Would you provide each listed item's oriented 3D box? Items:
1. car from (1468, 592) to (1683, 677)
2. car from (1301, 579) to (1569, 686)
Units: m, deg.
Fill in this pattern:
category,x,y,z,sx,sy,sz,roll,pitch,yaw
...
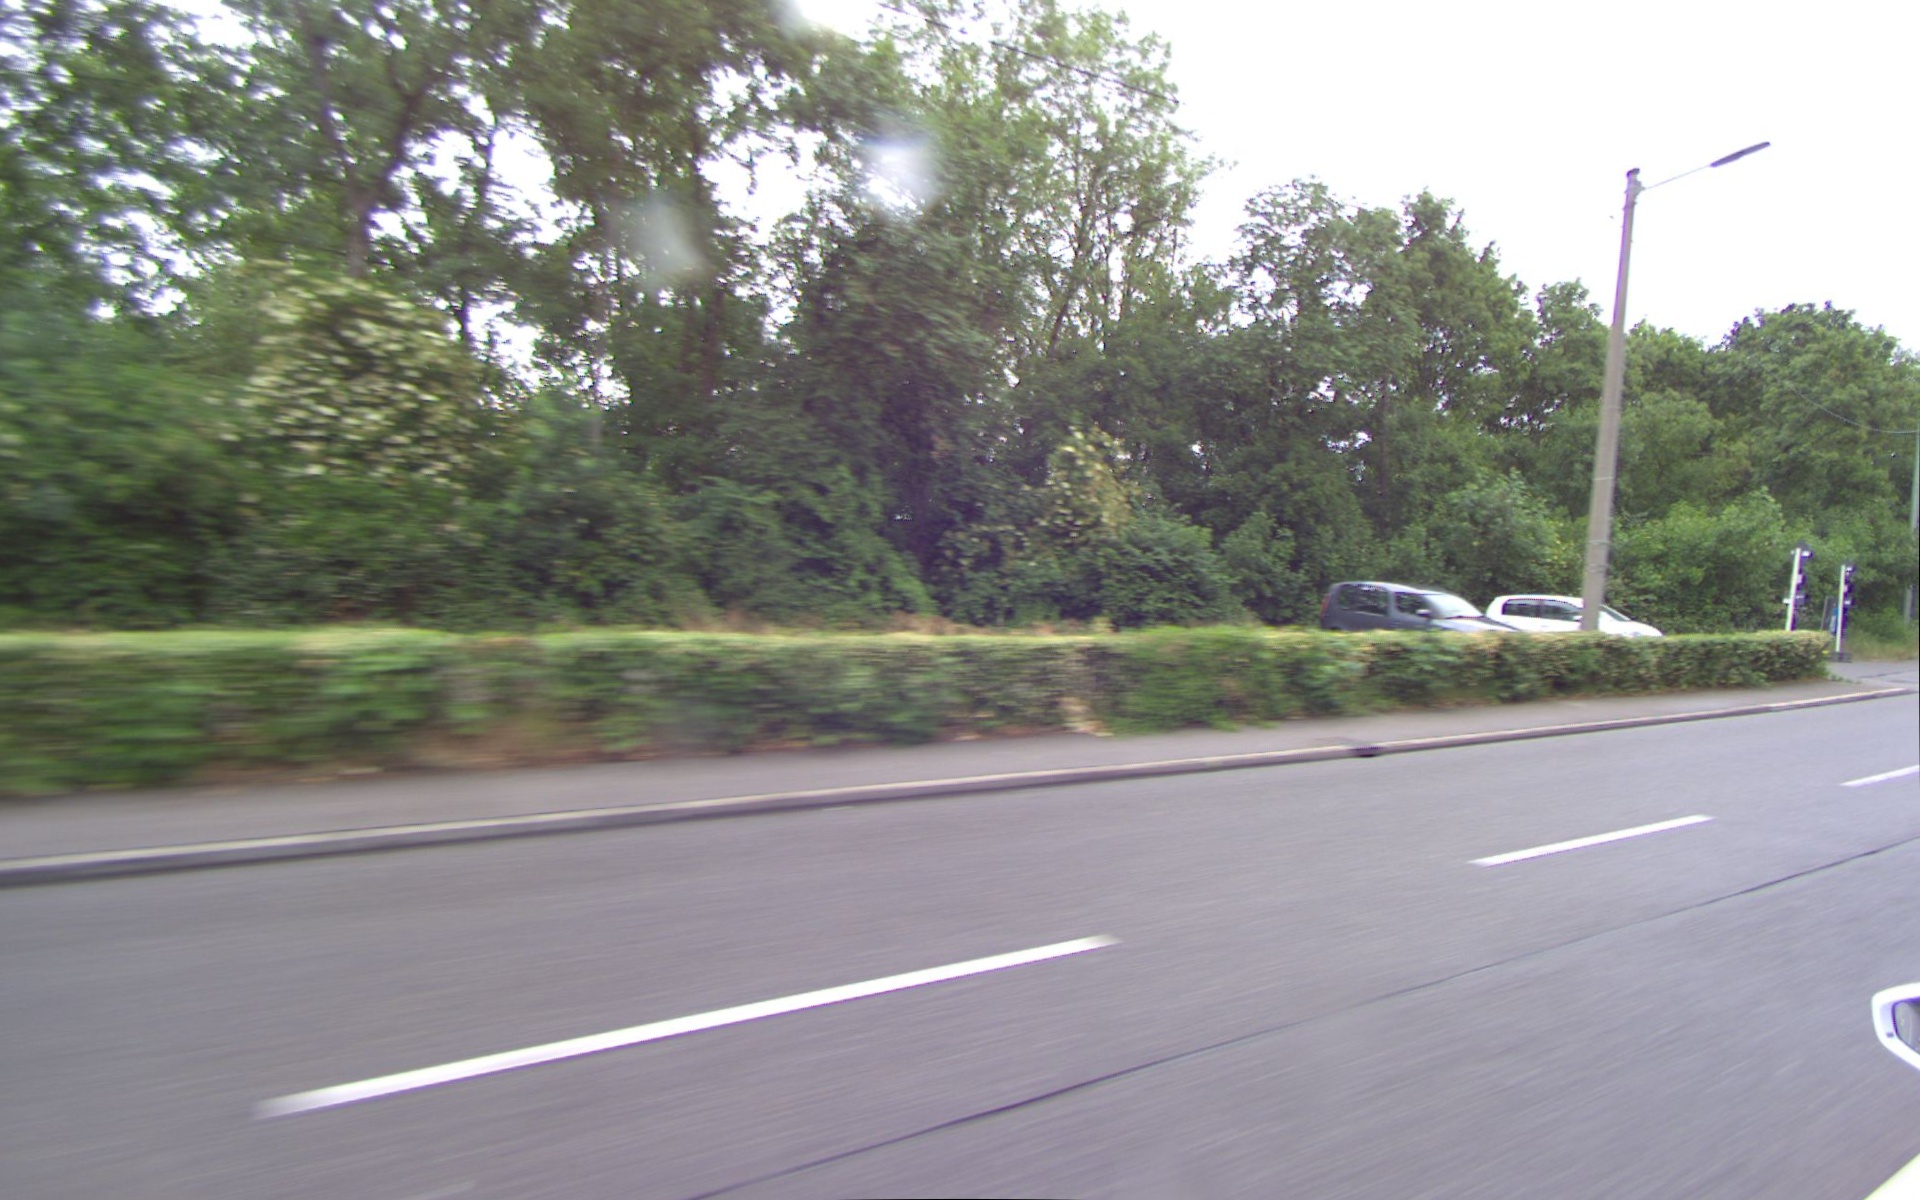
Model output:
category,x,y,z,sx,sy,sz,roll,pitch,yaw
car,13.580,0.710,22.341,1.833,1.612,3.620,1,1,-35
car,8.916,0.534,19.250,1.976,1.731,4.272,1,1,-29
